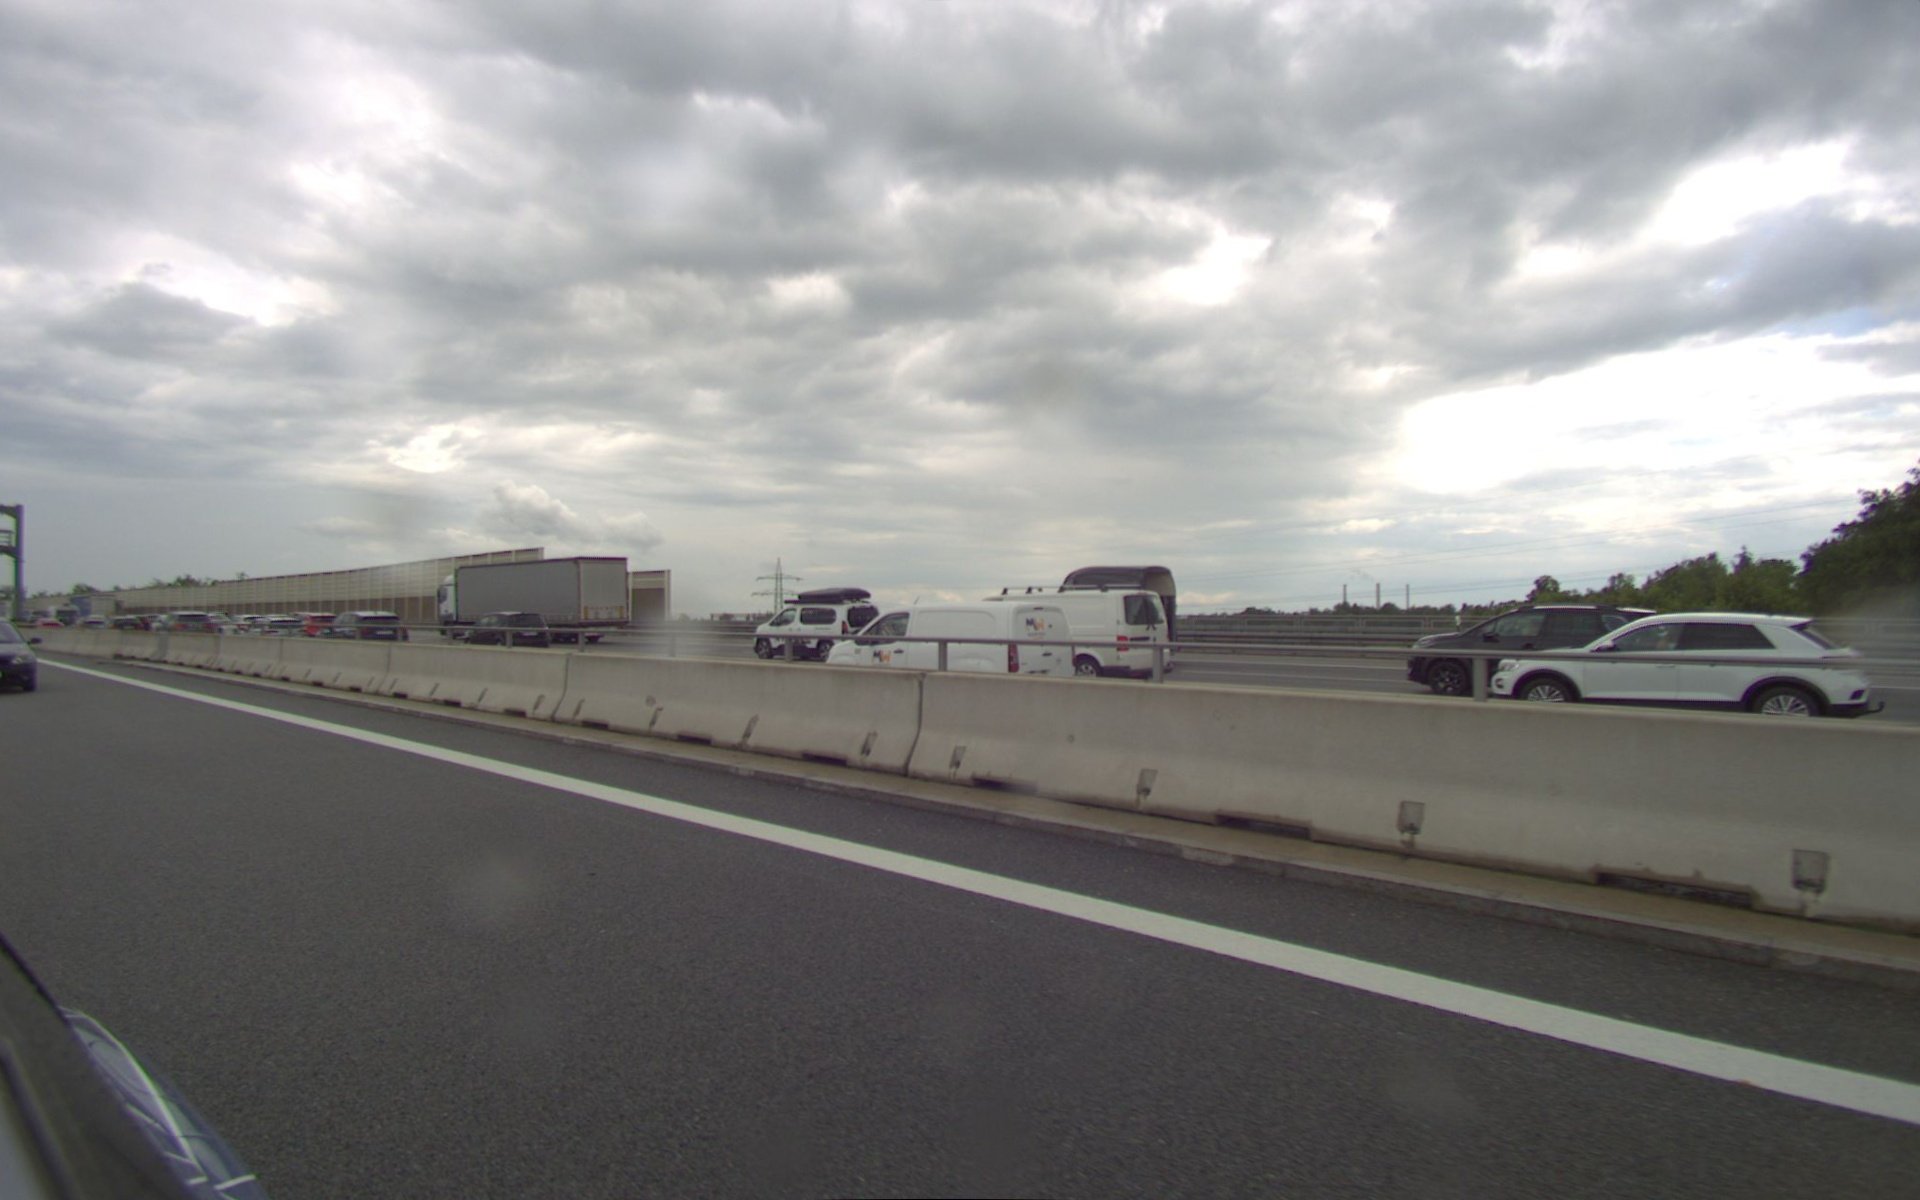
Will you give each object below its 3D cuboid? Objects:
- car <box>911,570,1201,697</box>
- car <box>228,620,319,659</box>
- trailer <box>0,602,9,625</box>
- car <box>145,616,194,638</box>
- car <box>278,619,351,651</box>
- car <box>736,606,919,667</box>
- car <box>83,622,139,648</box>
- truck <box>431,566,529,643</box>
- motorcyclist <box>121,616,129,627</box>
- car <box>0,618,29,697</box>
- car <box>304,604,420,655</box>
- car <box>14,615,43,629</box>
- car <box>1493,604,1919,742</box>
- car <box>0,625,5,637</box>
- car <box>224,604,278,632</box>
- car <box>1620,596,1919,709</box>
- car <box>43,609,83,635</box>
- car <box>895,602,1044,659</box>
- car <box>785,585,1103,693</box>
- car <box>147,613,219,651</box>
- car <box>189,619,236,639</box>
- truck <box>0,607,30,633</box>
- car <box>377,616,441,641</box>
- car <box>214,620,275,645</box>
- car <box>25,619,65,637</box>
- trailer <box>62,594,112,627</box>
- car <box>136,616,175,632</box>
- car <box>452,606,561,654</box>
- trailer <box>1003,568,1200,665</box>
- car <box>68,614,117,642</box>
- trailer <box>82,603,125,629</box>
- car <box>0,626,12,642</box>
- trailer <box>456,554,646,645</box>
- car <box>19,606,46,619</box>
[{"bbox_3d":[1.791,0.624,20.757,5.893,2.253,2.038,-1,-1,42],"label":"car"},{"bbox_3d":[-29.680,1.640,43.686,5.469,1.546,2.038,-1,-1,42],"label":"car"},{"bbox_3d":[-178.882,2.593,187.287,14.442,4.062,2.733,-1,-1,40],"label":"trailer"},{"bbox_3d":[-58.578,1.973,74.969,4.996,1.502,2.038,-1,-1,42],"label":"car"},{"bbox_3d":[-33.326,1.766,52.194,4.718,1.546,2.038,-1,-1,42],"label":"car"},{"bbox_3d":[-4.112,1.041,30.502,6.119,1.658,2.038,-1,-1,42],"label":"car"},{"bbox_3d":[-53.772,2.160,64.077,4.996,1.546,2.038,-1,-1,42],"label":"car"},{"bbox_3d":[-26.680,0.283,56.186,5.724,4.065,2.940,-1,-1,42],"label":"truck"},{"bbox_3d":[-98.261,2.561,119.082,0.796,1.233,0.630,-2,0,41],"label":"motorcyclist"},{"bbox_3d":[-19.023,1.079,19.256,3.999,1.413,1.558,-1,-1,42],"label":"car"},{"bbox_3d":[-21.095,1.004,35.598,5.379,1.658,2.038,-1,-1,42],"label":"car"},{"bbox_3d":[-105.106,2.429,114.166,4.996,1.502,2.038,-1,-1,42],"label":"car"},{"bbox_3d":[9.863,0.841,13.494,4.518,1.546,2.038,-1,-1,42],"label":"car"},{"bbox_3d":[-131.314,4.162,137.250,4.994,1.612,2.039,-1,-1,40],"label":"car"},{"bbox_3d":[-49.317,1.226,70.381,4.996,1.894,2.038,-1,-1,42],"label":"car"},{"bbox_3d":[12.653,0.707,15.044,4.520,1.475,1.704,0,1,44],"label":"car"},{"bbox_3d":[-92.898,2.240,104.819,7.085,2.569,2.358,-1,-1,42],"label":"car"},{"bbox_3d":[0.238,0.917,31.991,4.518,1.658,2.038,-1,-1,42],"label":"car"},{"bbox_3d":[-0.444,0.583,17.051,5.469,1.546,2.038,-1,-1,42],"label":"car"},{"bbox_3d":[-41.995,1.688,54.627,6.327,1.894,2.038,-1,-1,42],"label":"car"},{"bbox_3d":[-59.385,2.268,80.369,4.996,1.502,2.038,-1,-1,42],"label":"car"},{"bbox_3d":[-139.341,2.945,148.903,9.991,3.554,2.668,-1,0,41],"label":"truck"},{"bbox_3d":[-36.043,1.817,66.119,5.469,1.546,2.038,-1,-1,42],"label":"car"},{"bbox_3d":[-42.898,1.920,60.660,4.522,1.426,2.038,-1,-1,42],"label":"car"},{"bbox_3d":[-78.337,2.367,86.605,4.996,1.502,2.038,-1,-1,42],"label":"car"},{"bbox_3d":[-113.619,1.421,131.585,14.441,4.062,2.733,-1,-1,40],"label":"trailer"},{"bbox_3d":[-74.504,2.199,93.711,4.996,1.502,2.038,-1,-1,42],"label":"car"},{"bbox_3d":[-16.679,1.068,37.114,4.518,1.658,2.038,-1,-1,42],"label":"car"},{"bbox_3d":[3.921,0.463,28.730,5.227,2.503,2.176,-1,-1,43],"label":"trailer"},{"bbox_3d":[-62.678,1.996,73.093,4.996,1.894,2.038,-1,-1,42],"label":"car"},{"bbox_3d":[-136.354,2.559,161.031,13.850,4.062,2.906,-1,-1,40],"label":"trailer"},{"bbox_3d":[-99.503,3.509,104.450,4.996,1.502,2.038,-1,-1,42],"label":"car"},{"bbox_3d":[-20.982,0.099,51.028,14.449,4.062,2.900,-1,-1,42],"label":"trailer"},{"bbox_3d":[-124.613,1.682,135.916,4.994,1.612,2.039,-1,-1,40],"label":"car"}]
